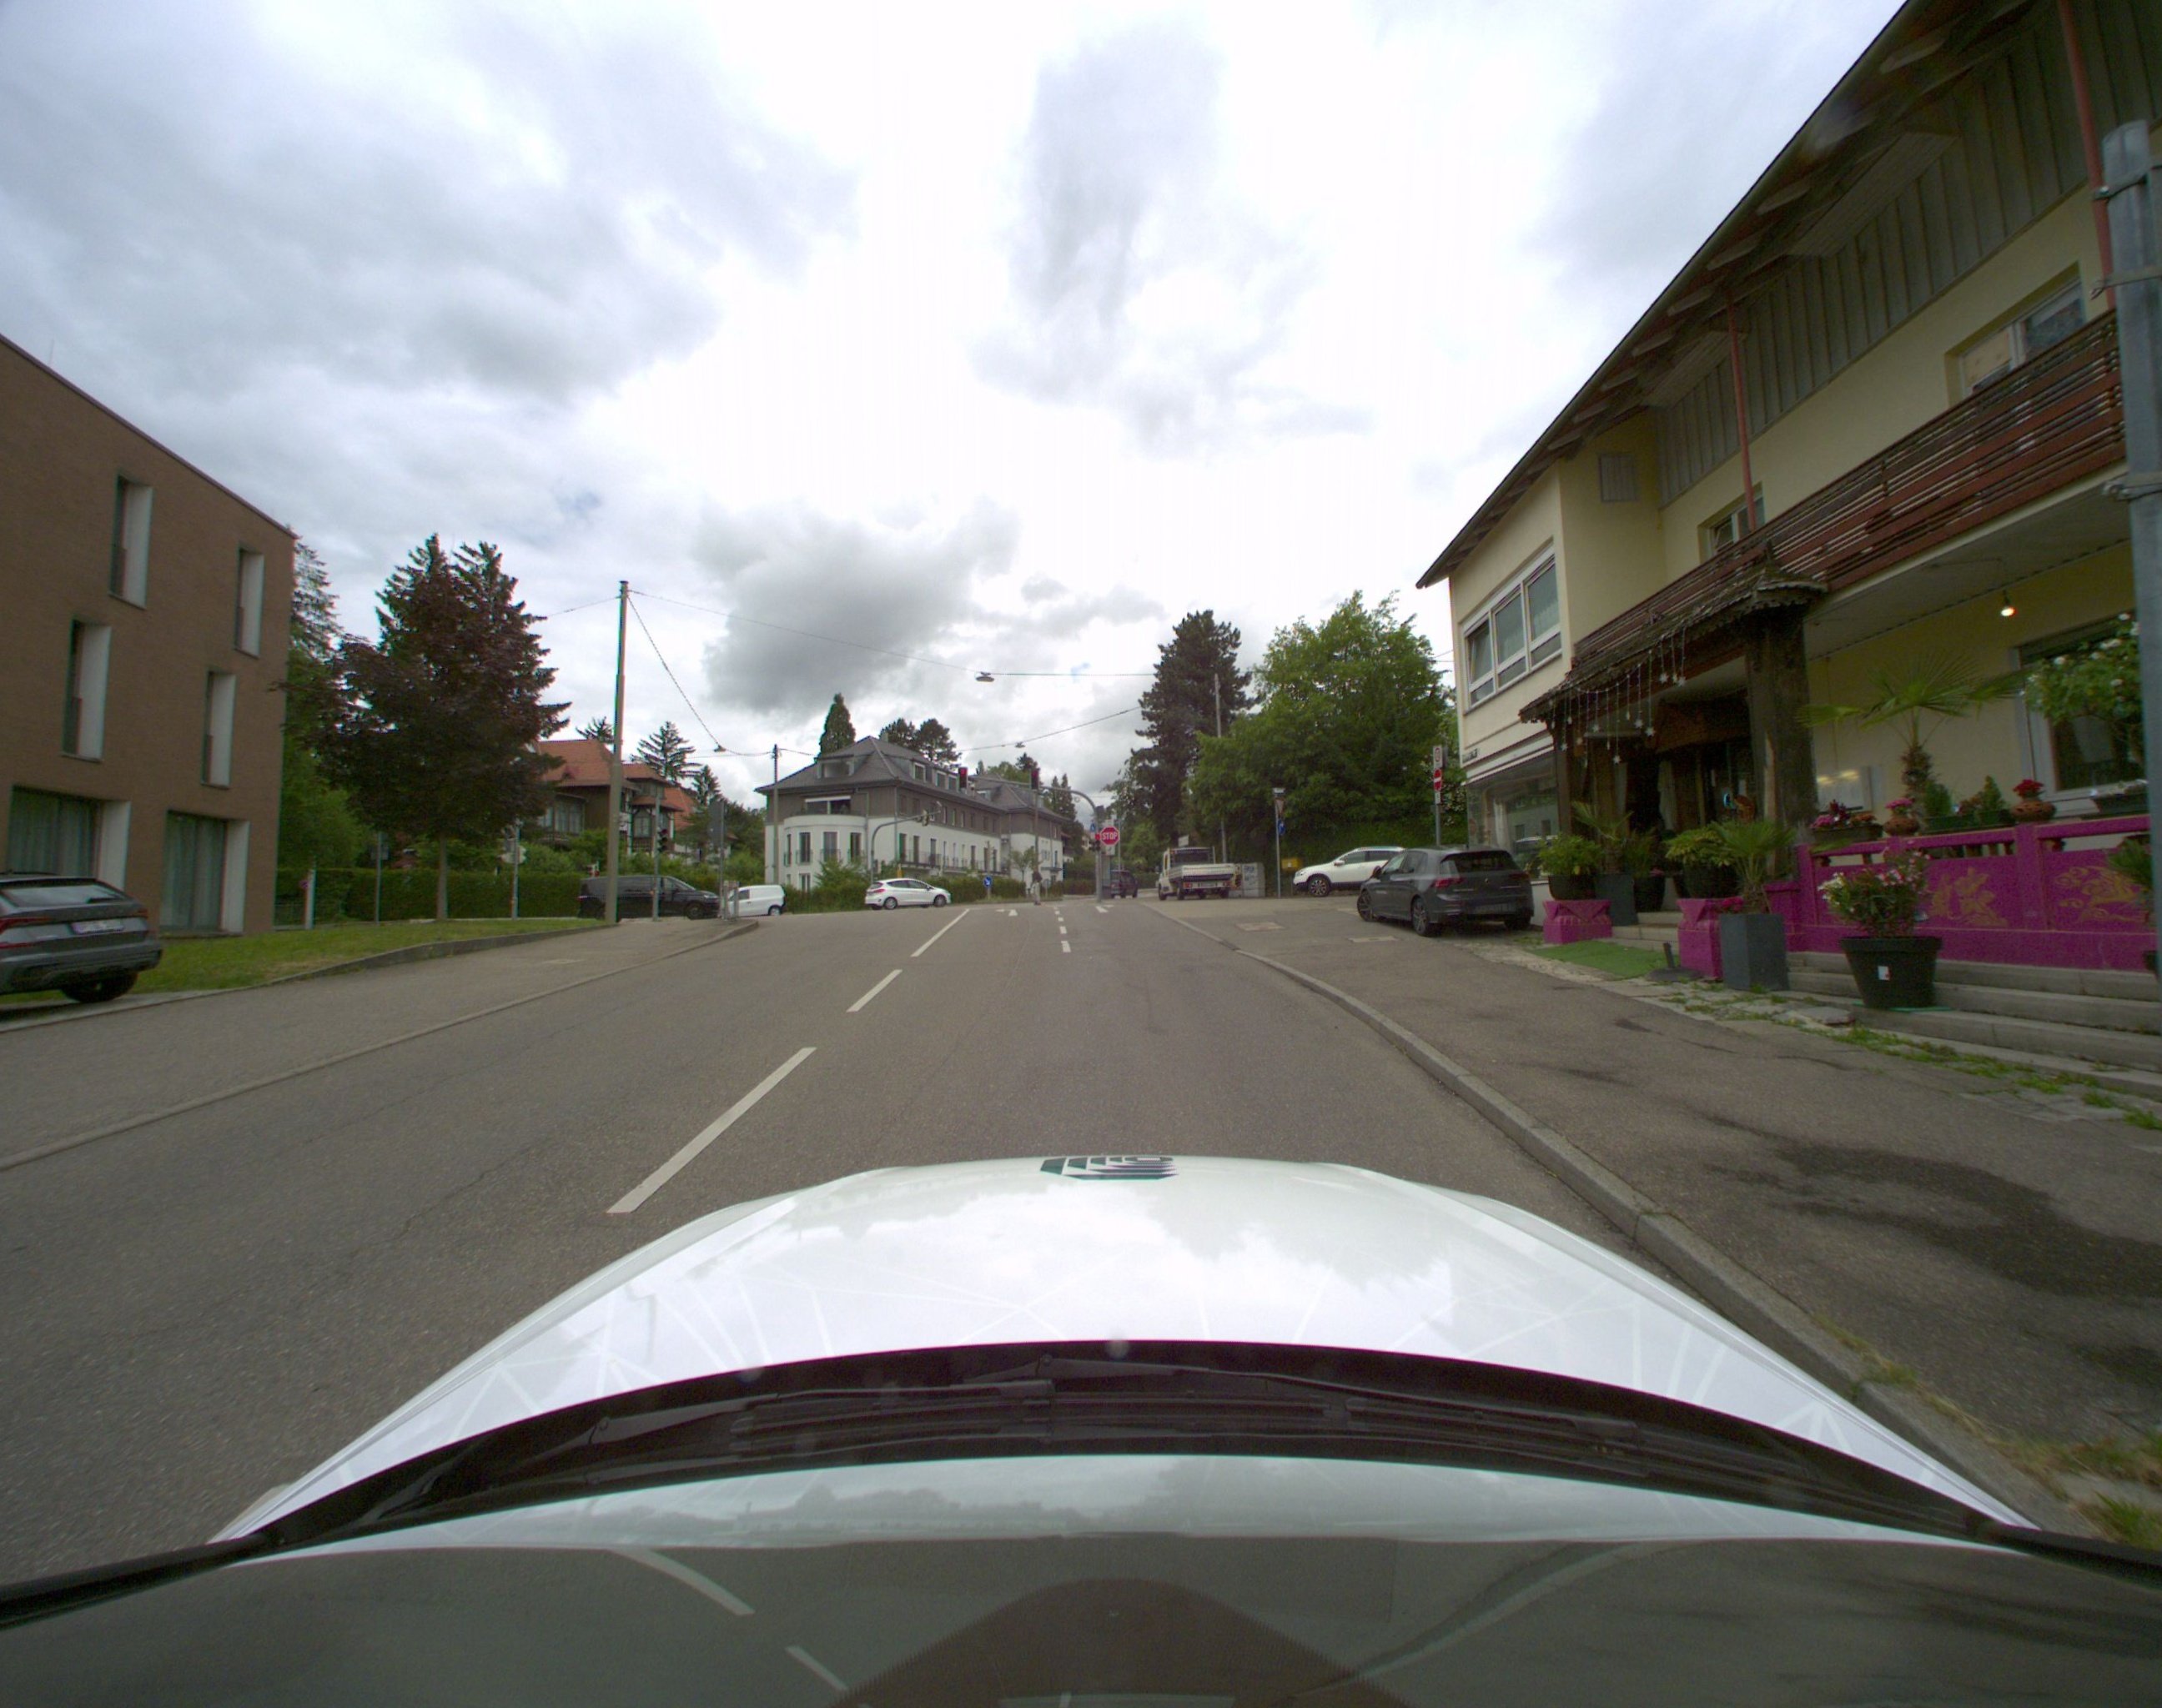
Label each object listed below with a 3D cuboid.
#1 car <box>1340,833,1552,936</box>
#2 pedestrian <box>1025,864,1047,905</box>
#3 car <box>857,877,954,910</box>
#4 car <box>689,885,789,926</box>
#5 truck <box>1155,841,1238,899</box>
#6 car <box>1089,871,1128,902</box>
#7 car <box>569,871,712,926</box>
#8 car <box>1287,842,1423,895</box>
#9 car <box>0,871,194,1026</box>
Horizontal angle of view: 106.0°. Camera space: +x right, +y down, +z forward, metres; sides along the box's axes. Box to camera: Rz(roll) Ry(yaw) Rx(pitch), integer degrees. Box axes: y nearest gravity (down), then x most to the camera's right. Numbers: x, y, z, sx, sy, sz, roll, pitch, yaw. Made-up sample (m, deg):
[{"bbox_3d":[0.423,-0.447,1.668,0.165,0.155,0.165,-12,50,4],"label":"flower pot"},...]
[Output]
[{"bbox_3d":[6.356,0.492,14.828,1.842,1.472,4.385,-4,-1,0],"label":"car"},{"bbox_3d":[-1.947,1.301,34.853,0.701,1.682,0.680,-1,-1,-25],"label":"pedestrian"},{"bbox_3d":[-8.205,1.820,38.187,4.019,1.383,1.915,0,-2,-38],"label":"car"},{"bbox_3d":[-17.805,2.646,42.475,4.378,1.857,1.976,-1,0,-43],"label":"car"},{"bbox_3d":[4.713,0.776,34.321,2.180,2.195,5.870,-1,-3,-4],"label":"truck"},{"bbox_3d":[1.936,2.246,56.080,1.981,2.014,4.521,-2,-2,10],"label":"car"},{"bbox_3d":[-17.255,1.689,32.217,4.786,2.014,1.984,1,0,-24],"label":"car"},{"bbox_3d":[9.278,0.553,27.732,4.206,1.594,1.997,-3,-4,18],"label":"car"},{"bbox_3d":[-12.359,1.074,8.495,3.766,1.464,1.724,-4,1,-14],"label":"car"}]
